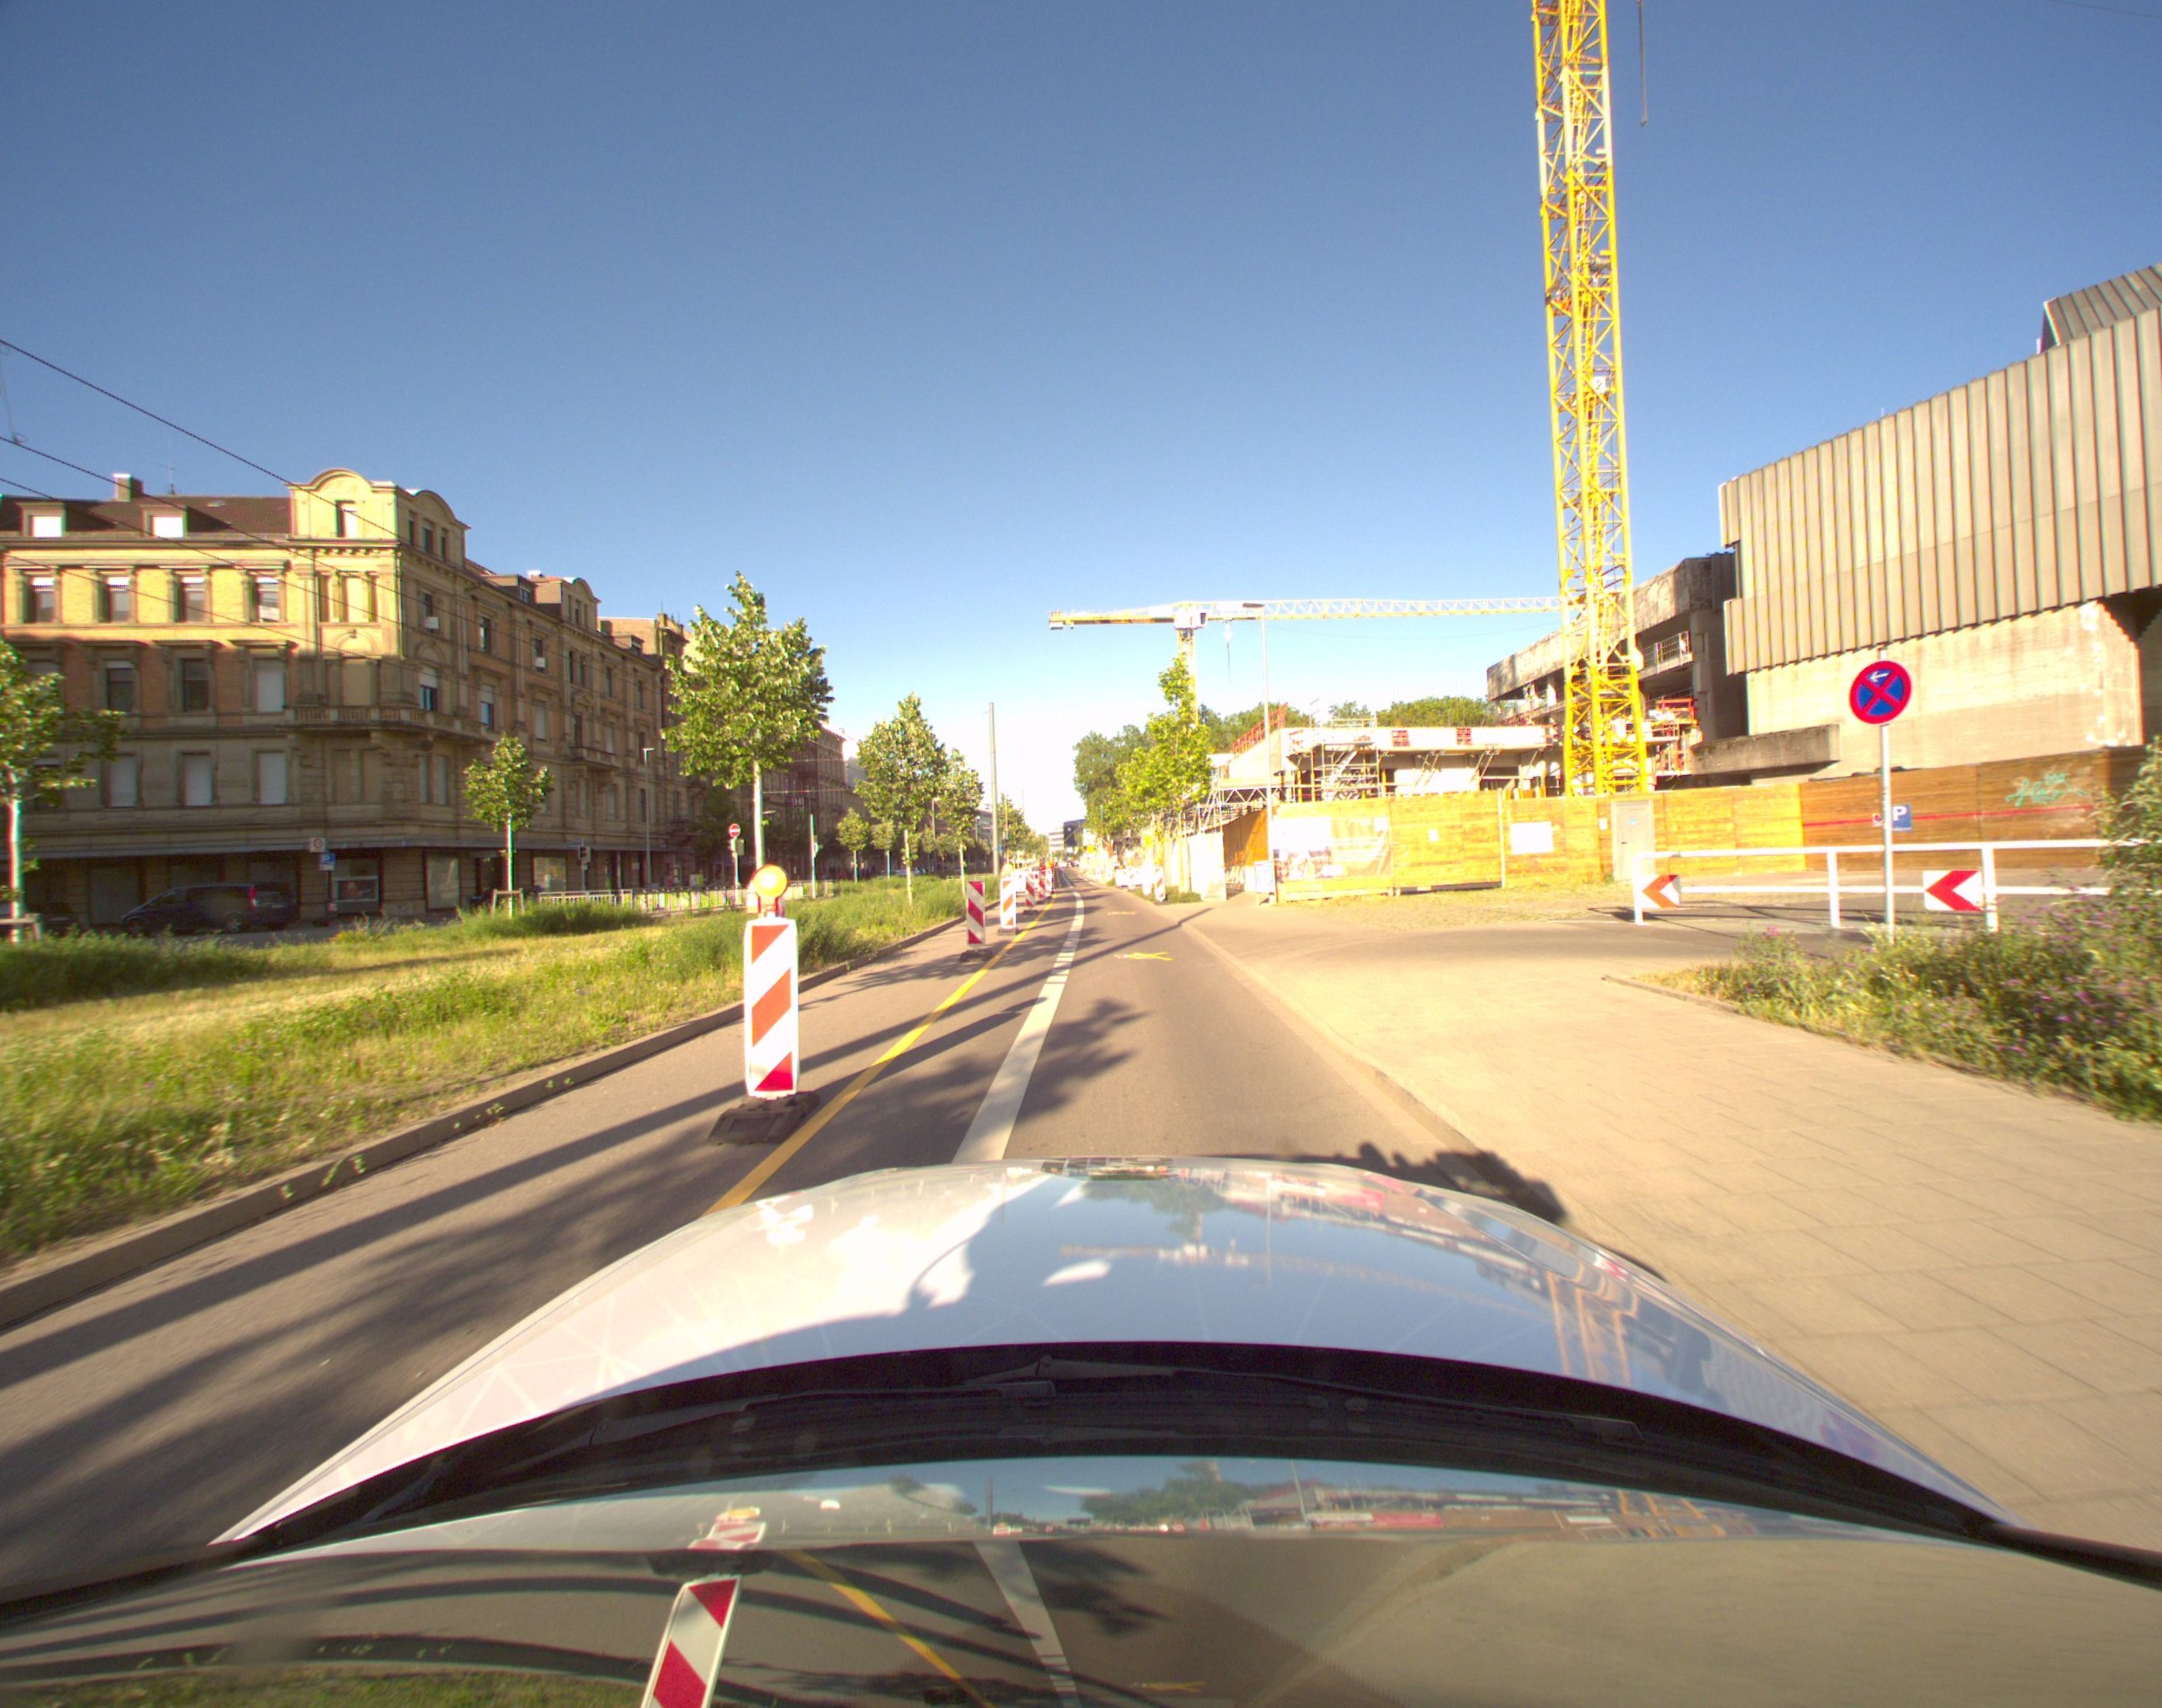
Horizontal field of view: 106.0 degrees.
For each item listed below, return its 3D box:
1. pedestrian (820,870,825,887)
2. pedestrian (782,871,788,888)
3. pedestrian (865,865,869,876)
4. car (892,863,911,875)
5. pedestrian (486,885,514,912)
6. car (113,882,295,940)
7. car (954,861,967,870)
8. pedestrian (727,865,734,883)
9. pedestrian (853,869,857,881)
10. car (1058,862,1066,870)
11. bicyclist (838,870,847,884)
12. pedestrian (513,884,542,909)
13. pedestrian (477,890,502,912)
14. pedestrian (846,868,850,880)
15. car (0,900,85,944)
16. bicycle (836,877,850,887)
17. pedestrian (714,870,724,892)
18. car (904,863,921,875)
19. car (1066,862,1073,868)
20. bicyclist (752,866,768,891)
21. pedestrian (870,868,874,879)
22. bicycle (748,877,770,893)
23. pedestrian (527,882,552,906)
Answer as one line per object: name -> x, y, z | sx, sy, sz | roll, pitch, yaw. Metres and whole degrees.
pedestrian -> -27.832, 2.638, 87.791 | 0.366, 1.765, 0.406 | 0, -1, -2
pedestrian -> -27.907, 2.435, 76.796 | 0.402, 1.585, 0.425 | 0, -1, -2
pedestrian -> -28.391, 2.190, 107.841 | 0.404, 1.532, 0.434 | 0, -1, -2
car -> -24.581, 2.053, 111.539 | 1.562, 1.562, 4.711 | -2, 0, -2
pedestrian -> -28.615, 2.195, 40.094 | 0.688, 1.246, 0.929 | -2, -1, -1
car -> -33.290, 2.123, 31.024 | 4.504, 1.903, 1.894 | -2, -1, -7
car -> -20.772, 1.922, 140.610 | 1.590, 1.483, 3.622 | -2, 0, 0
pedestrian -> -30.589, 1.727, 71.159 | 0.381, 1.585, 0.393 | 0, -1, 29
pedestrian -> -29.634, 2.805, 106.735 | 0.427, 1.585, 0.339 | 0, -1, 0
car -> -4.495, 2.950, 194.667 | 1.878, 1.842, 3.665 | -2, 0, -2
bicyclist -> -21.581, 2.062, 73.710 | 0.635, 1.239, 0.738 | -2, -1, -1
pedestrian -> -28.518, 2.174, 41.972 | 0.789, 1.208, 0.929 | -2, -1, -1
pedestrian -> -29.490, 2.339, 40.588 | 0.688, 1.059, 0.735 | -2, -1, -1
pedestrian -> -30.569, 2.673, 106.738 | 0.433, 1.585, 0.385 | 0, -1, -4
car -> -39.703, 2.558, 30.374 | 3.140, 1.468, 1.381 | -2, -1, -7
bicycle -> -21.573, 2.529, 73.908 | 0.635, 0.858, 2.030 | -2, -1, 0
pedestrian -> -26.459, 1.972, 59.473 | 0.485, 1.585, 0.533 | 0, -1, -2
car -> -24.356, 2.132, 117.868 | 1.562, 1.562, 4.710 | -2, 0, -2
car -> -3.366, 3.196, 235.366 | 1.878, 1.842, 3.665 | -2, 0, -2
bicyclist -> -21.239, 1.603, 53.877 | 0.693, 1.657, 0.882 | -2, -1, -1
pedestrian -> -30.428, 2.883, 118.371 | 0.460, 1.585, 0.434 | 0, -1, -9
bicycle -> -21.225, 2.022, 53.708 | 0.693, 0.978, 1.826 | -2, -1, -1
pedestrian -> -28.741, 2.121, 43.229 | 0.688, 1.208, 0.929 | -2, -1, -1
